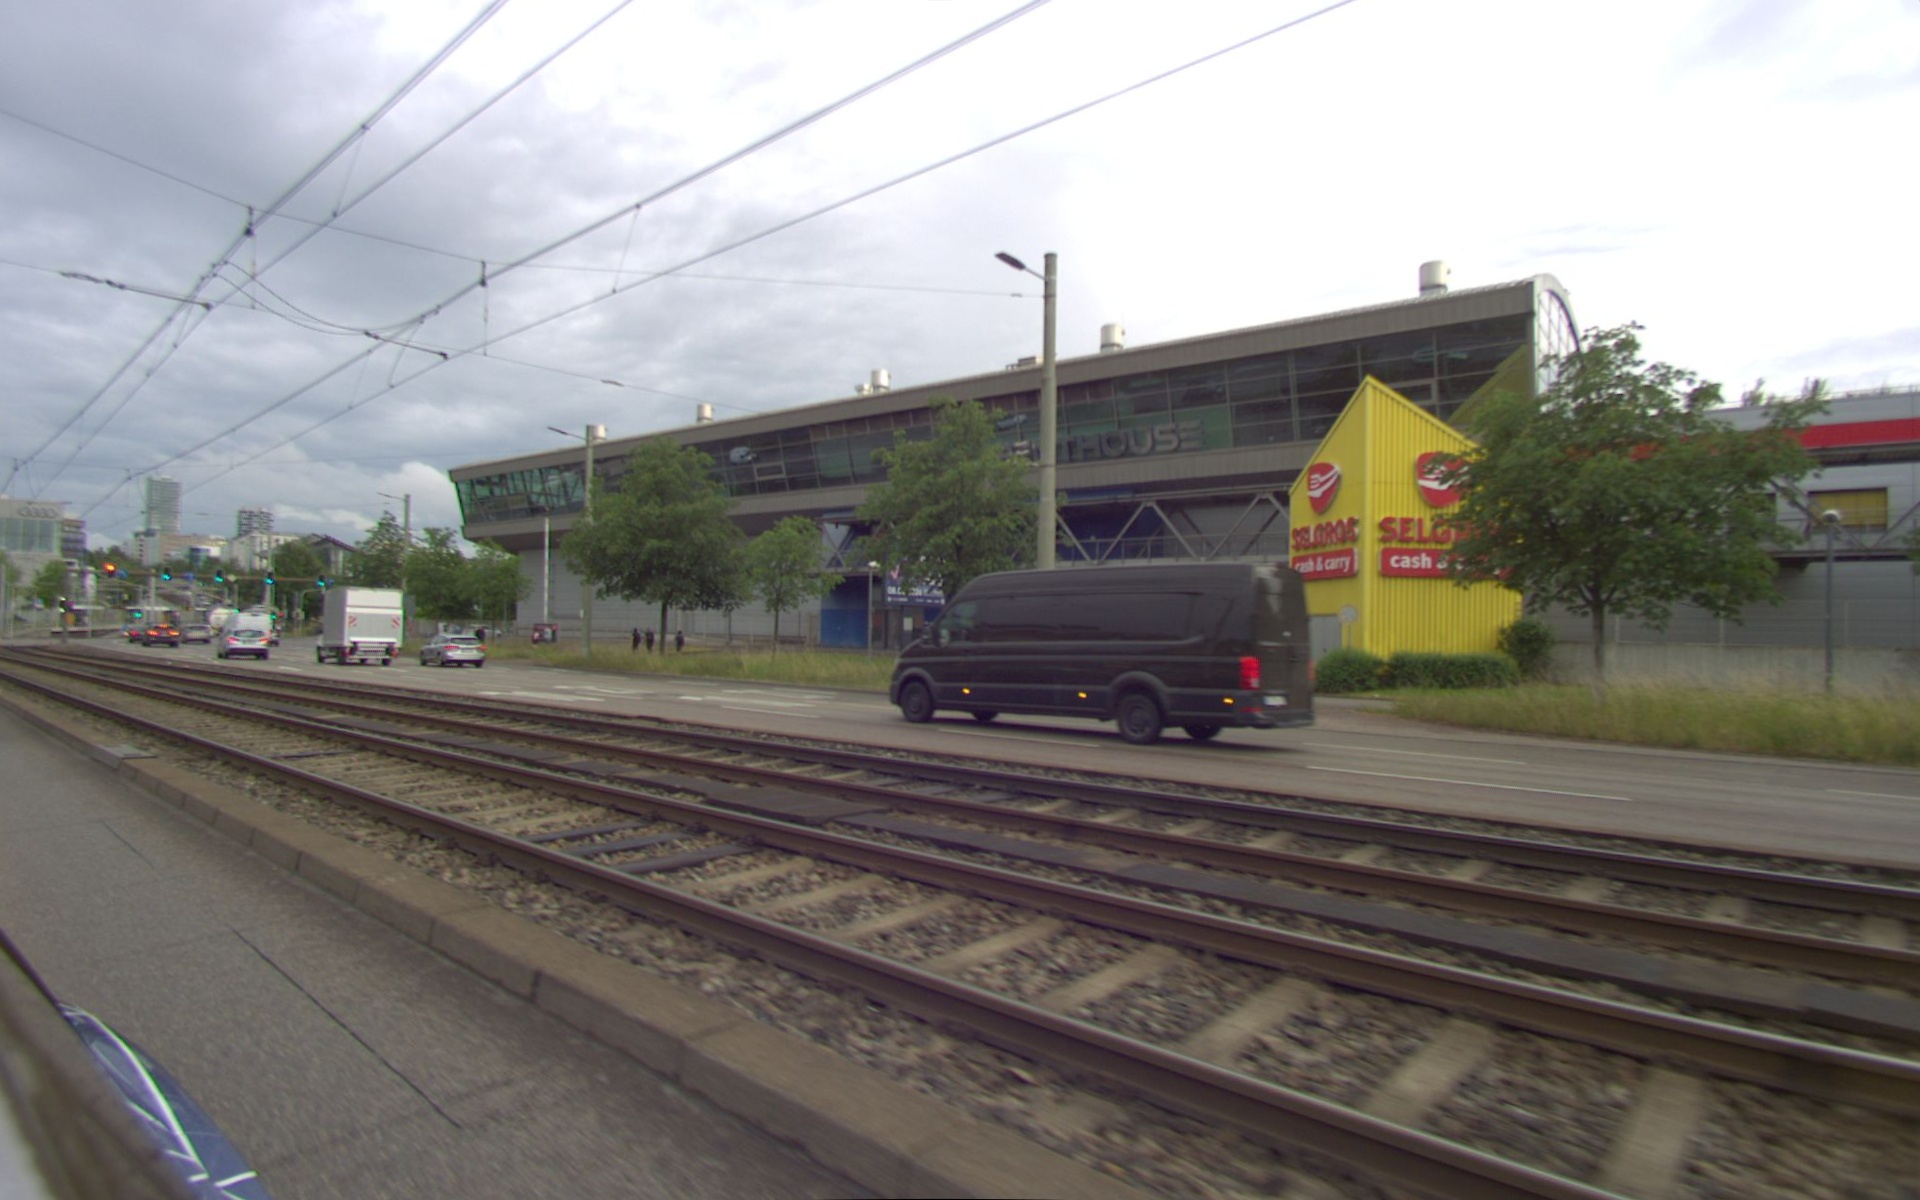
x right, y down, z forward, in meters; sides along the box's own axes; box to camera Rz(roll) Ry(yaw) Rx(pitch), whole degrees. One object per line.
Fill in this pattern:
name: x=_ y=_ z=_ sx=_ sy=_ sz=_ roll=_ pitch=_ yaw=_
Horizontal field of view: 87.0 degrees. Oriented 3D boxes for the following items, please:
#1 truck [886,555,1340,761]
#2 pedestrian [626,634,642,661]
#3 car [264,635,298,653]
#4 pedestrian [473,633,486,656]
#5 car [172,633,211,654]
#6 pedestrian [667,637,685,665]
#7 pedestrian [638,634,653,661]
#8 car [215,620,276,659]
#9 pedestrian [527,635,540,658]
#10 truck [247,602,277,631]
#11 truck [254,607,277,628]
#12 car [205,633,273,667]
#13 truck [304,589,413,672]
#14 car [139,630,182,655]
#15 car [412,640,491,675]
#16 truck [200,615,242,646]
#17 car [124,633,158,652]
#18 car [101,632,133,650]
truck: x=2.080 y=0.852 z=15.926 sx=7.014 sy=2.584 sz=2.214 roll=-1 pitch=-4 yaw=43
pedestrian: x=-18.216 y=2.669 z=56.533 sx=0.651 sy=1.467 sz=0.507 roll=-1 pitch=-1 yaw=32
car: x=-54.871 y=3.540 z=81.717 sx=1.726 sy=1.410 sz=4.005 roll=3 pitch=-4 yaw=-41
pedestrian: x=-33.647 y=3.110 z=70.855 sx=0.627 sy=1.575 sz=0.675 roll=-1 pitch=-1 yaw=42
car: x=-63.865 y=3.604 z=84.074 sx=1.917 sy=1.684 sz=4.511 roll=4 pitch=-4 yaw=-44
pedestrian: x=-15.061 y=2.693 z=53.642 sx=0.744 sy=1.450 sz=0.602 roll=-1 pitch=-1 yaw=38
pedestrian: x=-17.683 y=2.661 z=56.909 sx=0.651 sy=1.467 sz=0.447 roll=-1 pitch=-1 yaw=32
car: x=-48.926 y=2.708 z=69.210 sx=2.404 sy=2.519 sz=6.553 roll=5 pitch=-5 yaw=-43
pedestrian: x=-29.558 y=3.219 z=70.115 sx=0.542 sy=1.509 sz=0.758 roll=-1 pitch=-1 yaw=-45
truck: x=-119.581 y=2.879 z=173.412 sx=3.213 sy=4.564 sz=7.114 roll=2 pitch=-3 yaw=-27
truck: x=-145.296 y=3.780 z=211.658 sx=3.330 sy=4.171 sz=7.652 roll=2 pitch=-3 yaw=-31
car: x=-34.657 y=2.401 z=48.587 sx=4.442 sy=1.510 sz=1.785 roll=-2 pitch=-6 yaw=44
truck: x=-27.014 y=1.420 z=45.286 sx=2.694 sy=3.383 sz=7.161 roll=5 pitch=-5 yaw=-42
car: x=-57.204 y=3.014 z=72.390 sx=1.886 sy=1.669 sz=4.363 roll=5 pitch=-5 yaw=-44
car: x=-22.816 y=2.559 z=45.353 sx=1.875 sy=1.500 sz=4.426 roll=4 pitch=-4 yaw=-44
truck: x=-93.860 y=3.917 z=128.385 sx=4.026 sy=3.785 sz=10.876 roll=3 pitch=-3 yaw=-37
car: x=-67.879 y=3.498 z=83.855 sx=1.924 sy=1.496 sz=5.000 roll=3 pitch=-4 yaw=-42
car: x=-86.085 y=4.202 z=103.316 sx=4.679 sy=1.745 sz=1.971 roll=-2 pitch=-4 yaw=44
